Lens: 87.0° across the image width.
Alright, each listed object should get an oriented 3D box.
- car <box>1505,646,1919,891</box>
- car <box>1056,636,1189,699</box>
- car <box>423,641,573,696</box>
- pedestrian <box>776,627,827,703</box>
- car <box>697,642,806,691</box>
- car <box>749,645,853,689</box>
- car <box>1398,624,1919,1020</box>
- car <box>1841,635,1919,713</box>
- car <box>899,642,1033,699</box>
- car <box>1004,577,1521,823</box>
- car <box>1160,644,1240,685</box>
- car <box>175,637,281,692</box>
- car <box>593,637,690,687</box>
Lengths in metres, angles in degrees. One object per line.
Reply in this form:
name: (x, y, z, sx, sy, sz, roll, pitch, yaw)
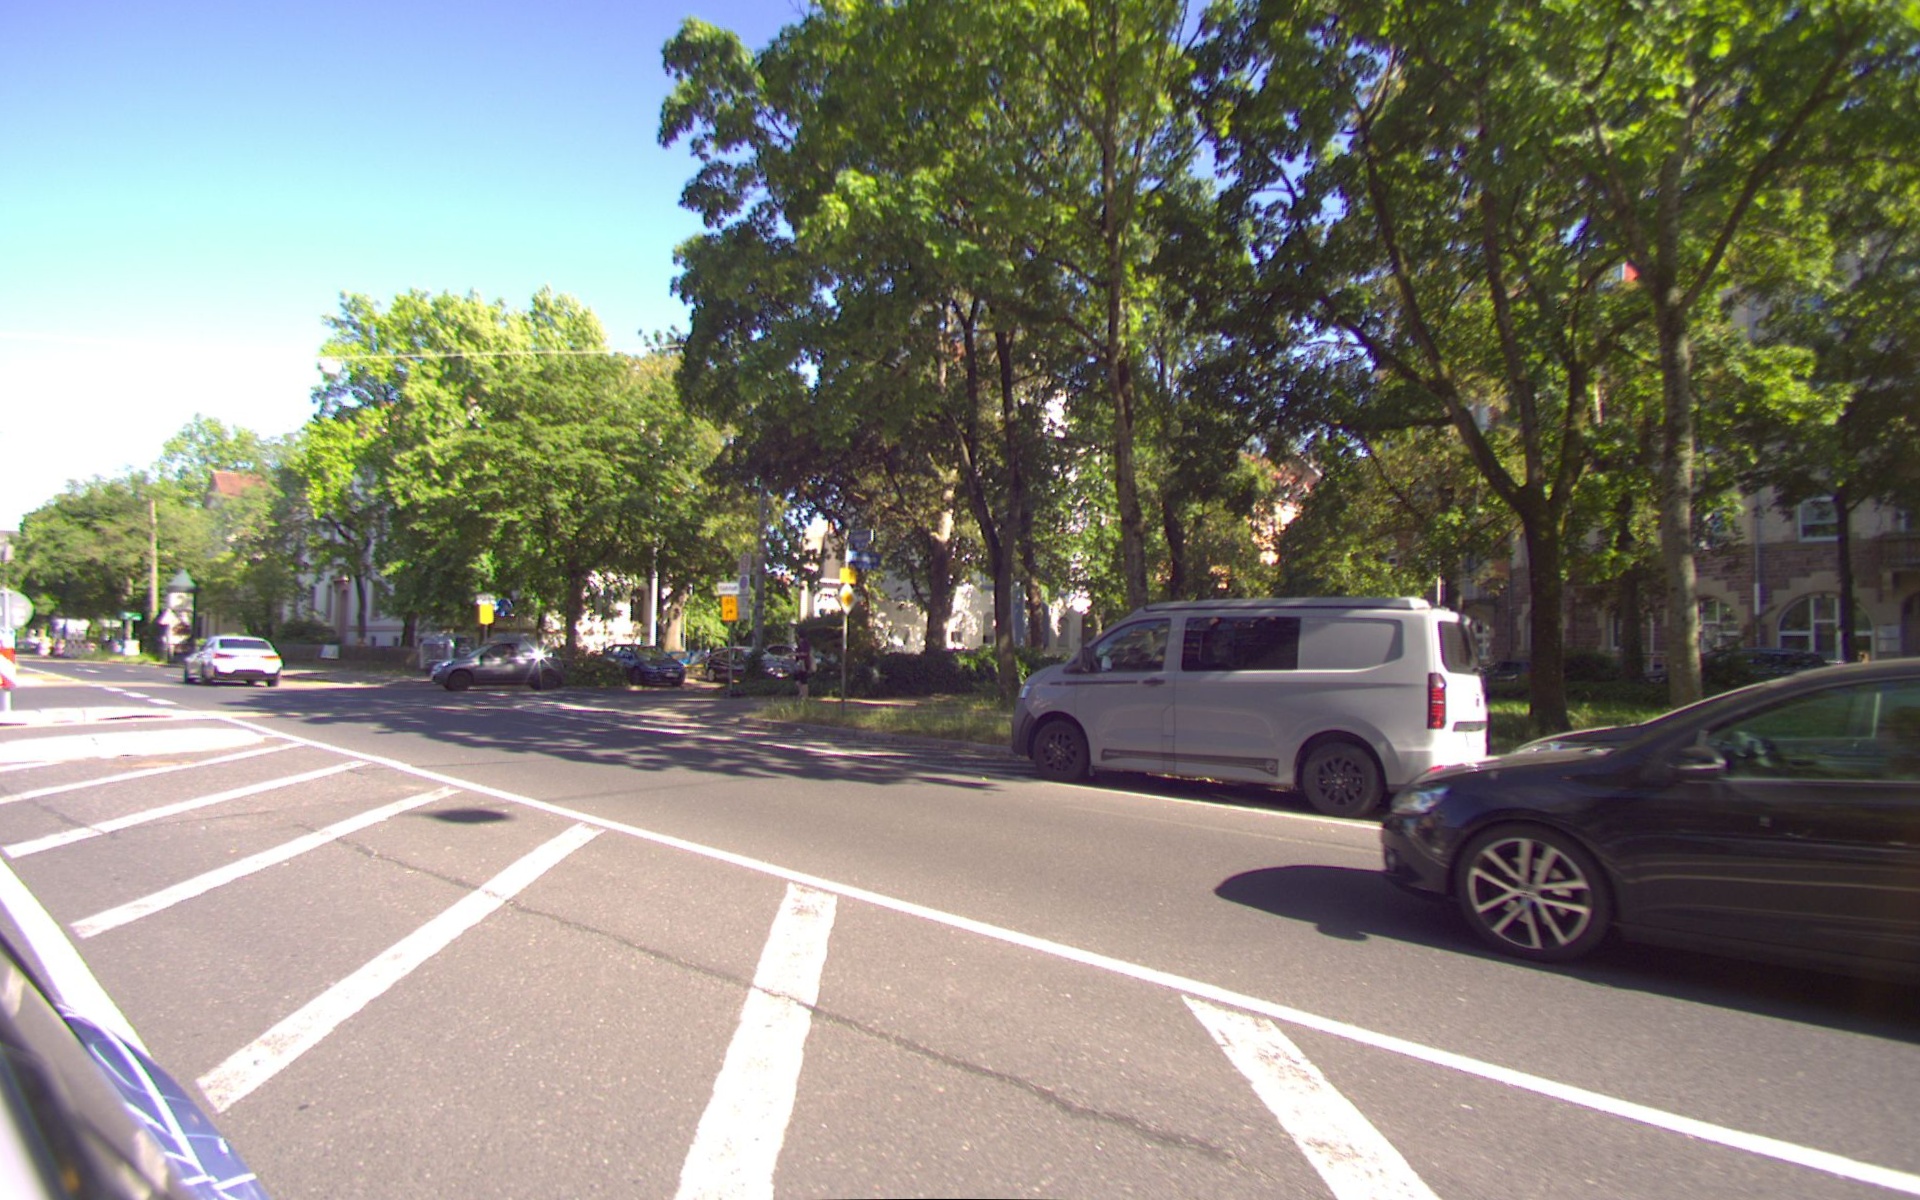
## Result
car: (6.296, 1.144, 7.283, 3.959, 1.513, 1.448, -1, -5, 43)
car: (6.270, 2.580, 39.366, 4.918, 2.263, 1.867, -2, -5, 44)
car: (-13.680, 2.036, 30.009, 3.718, 1.502, 1.849, 4, -4, -35)
pedestrian: (-3.761, 1.525, 24.059, 0.818, 1.768, 0.863, -1, -3, 32)
car: (-8.307, 2.593, 40.006, 4.701, 1.701, 1.867, 0, -3, 44)
car: (-6.652, 2.760, 41.911, 1.866, 1.701, 4.703, 4, -5, -44)
car: (4.229, 0.855, 4.213, 4.133, 1.461, 1.575, -2, -4, 43)
car: (20.063, 1.522, 19.781, 4.125, 1.439, 1.594, 2, -5, 3)
car: (0.113, 2.227, 32.765, 1.864, 1.701, 4.709, 4, -4, -37)
car: (3.036, 0.974, 10.764, 4.870, 2.052, 1.964, -2, -7, 39)
car: (16.059, 4.302, 67.886, 4.917, 2.643, 1.868, -2, -5, 43)
car: (-21.577, 1.846, 29.764, 1.783, 1.505, 4.716, 3, -4, -44)
car: (-11.694, 2.255, 36.957, 1.864, 1.701, 4.709, 4, -4, -37)
